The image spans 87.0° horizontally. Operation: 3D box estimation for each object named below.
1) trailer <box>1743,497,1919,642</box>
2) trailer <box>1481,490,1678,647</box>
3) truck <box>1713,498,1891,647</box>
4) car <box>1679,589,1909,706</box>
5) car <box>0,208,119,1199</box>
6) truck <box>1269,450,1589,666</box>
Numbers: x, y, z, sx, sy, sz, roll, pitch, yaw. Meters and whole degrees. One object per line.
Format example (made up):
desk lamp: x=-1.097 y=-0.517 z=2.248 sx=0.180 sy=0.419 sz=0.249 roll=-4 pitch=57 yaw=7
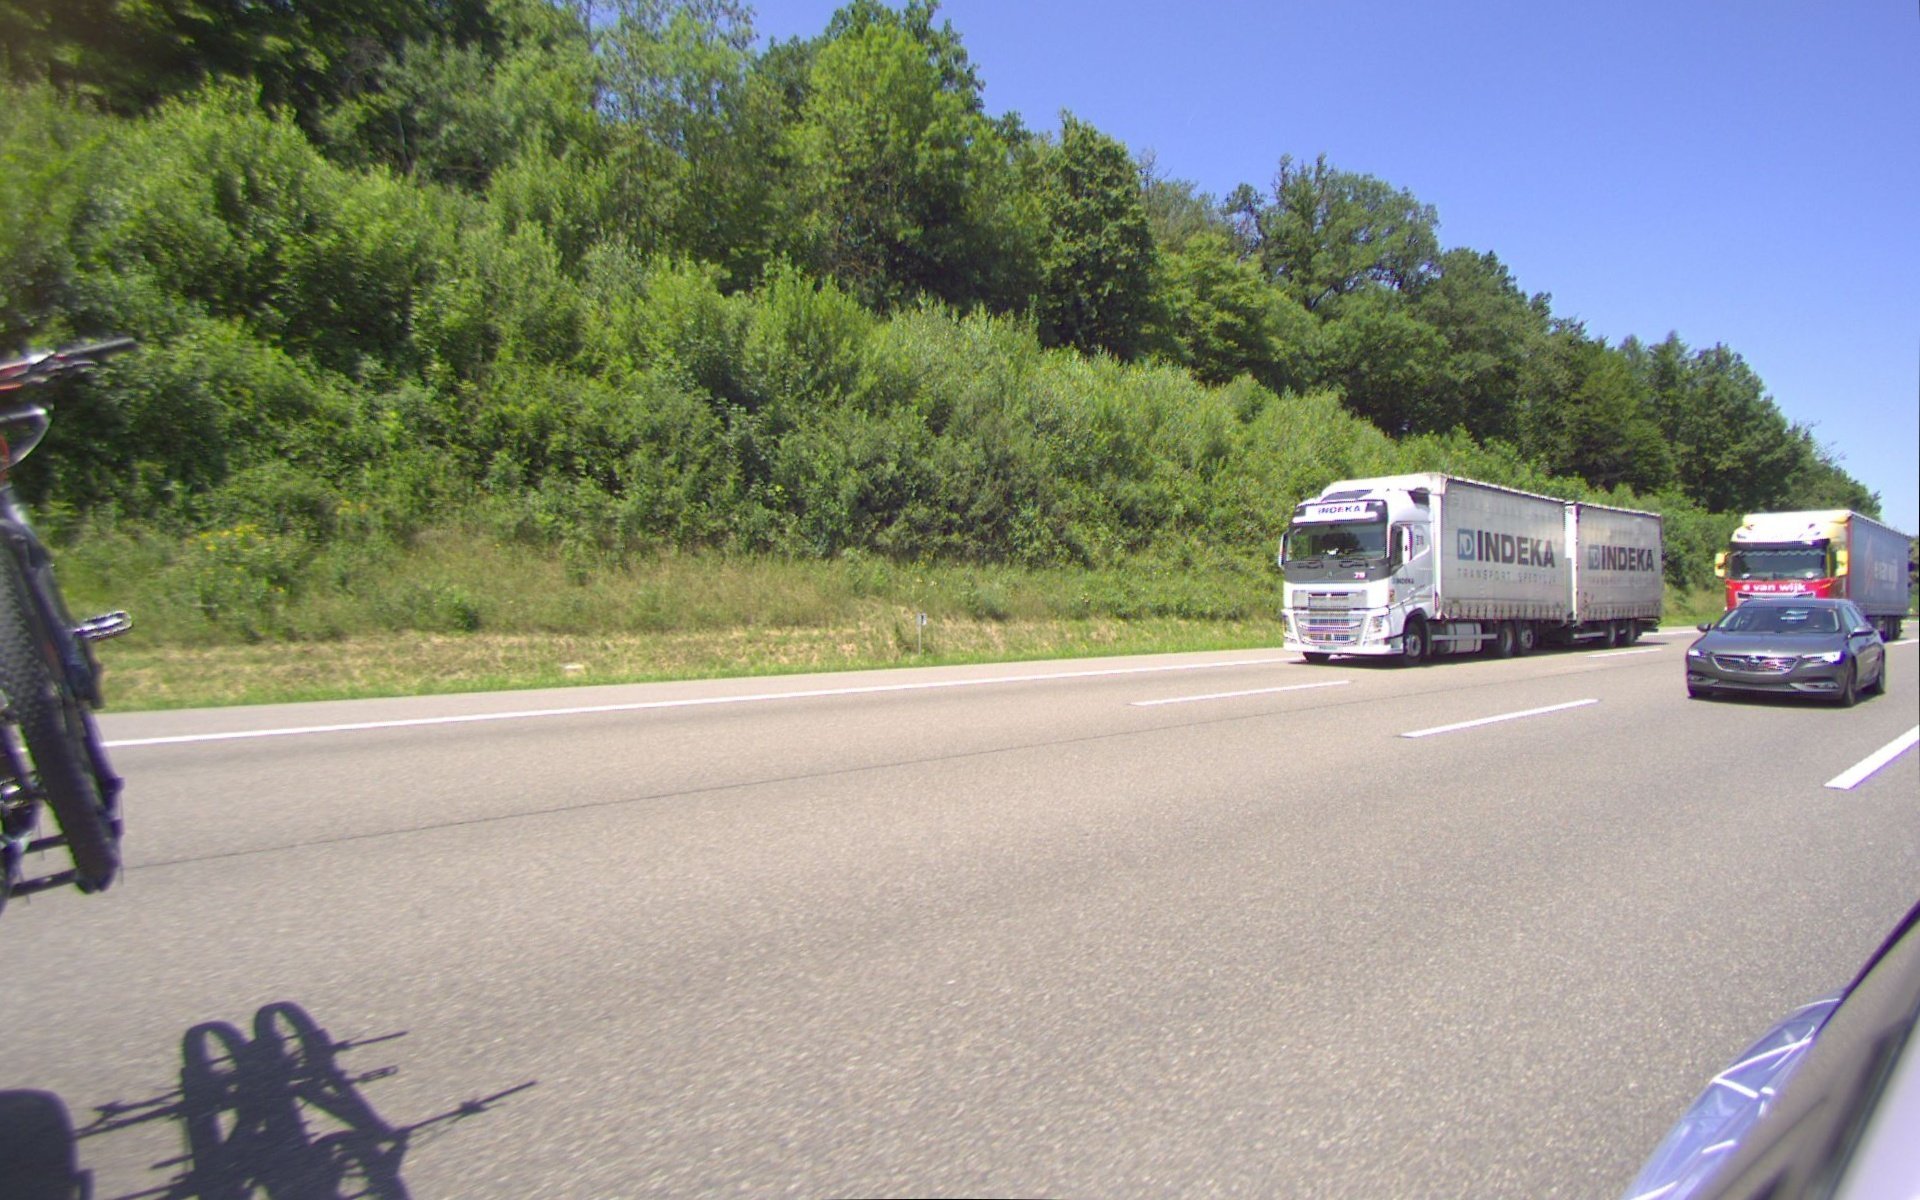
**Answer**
trailer: x=30.981 y=-0.898 z=35.269 sx=14.587 sy=4.195 sz=2.925 roll=0 pitch=1 yaw=-41
trailer: x=18.647 y=-0.845 z=30.207 sx=8.235 sy=4.121 sz=2.584 roll=0 pitch=0 yaw=-40
truck: x=25.937 y=-0.748 z=31.039 sx=7.407 sy=4.031 sz=3.016 roll=0 pitch=0 yaw=-41
car: x=12.738 y=0.580 z=15.325 sx=5.135 sy=1.471 sz=1.970 roll=-1 pitch=1 yaw=-42
car: x=-3.922 y=0.352 z=1.014 sx=4.699 sy=2.079 sz=1.965 roll=1 pitch=0 yaw=-40
truck: x=11.619 y=-0.846 z=24.246 sx=10.776 sy=4.213 sz=2.727 roll=0 pitch=0 yaw=-40
